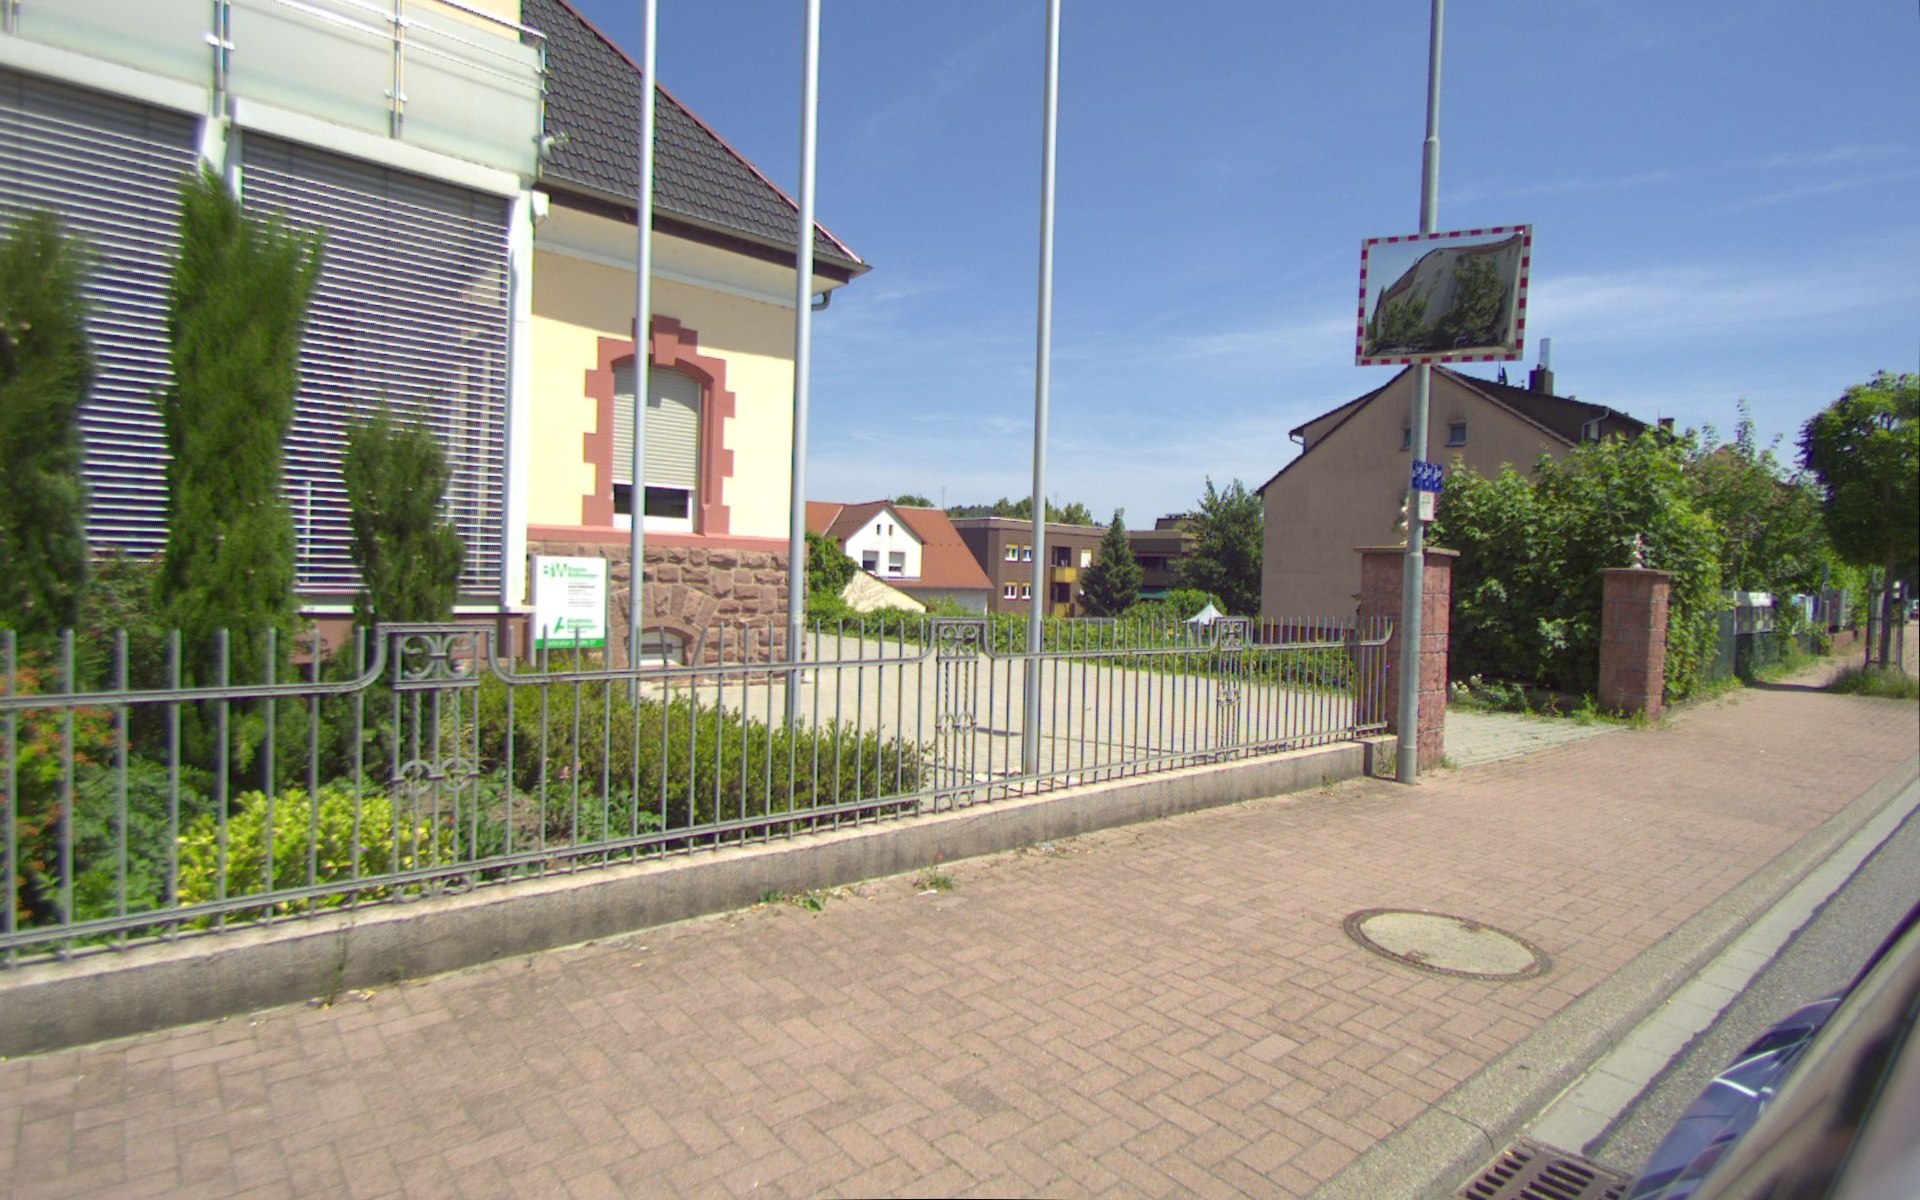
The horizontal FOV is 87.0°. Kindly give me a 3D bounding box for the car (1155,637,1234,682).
[{"bbox_3d":[9.228,2.310,39.744,3.237,1.492,1.324,-2,-3,-42],"label":"car"}]

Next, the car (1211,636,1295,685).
[{"bbox_3d":[10.555,2.171,36.398,3.237,1.492,1.324,-2,-3,-42],"label":"car"}]
